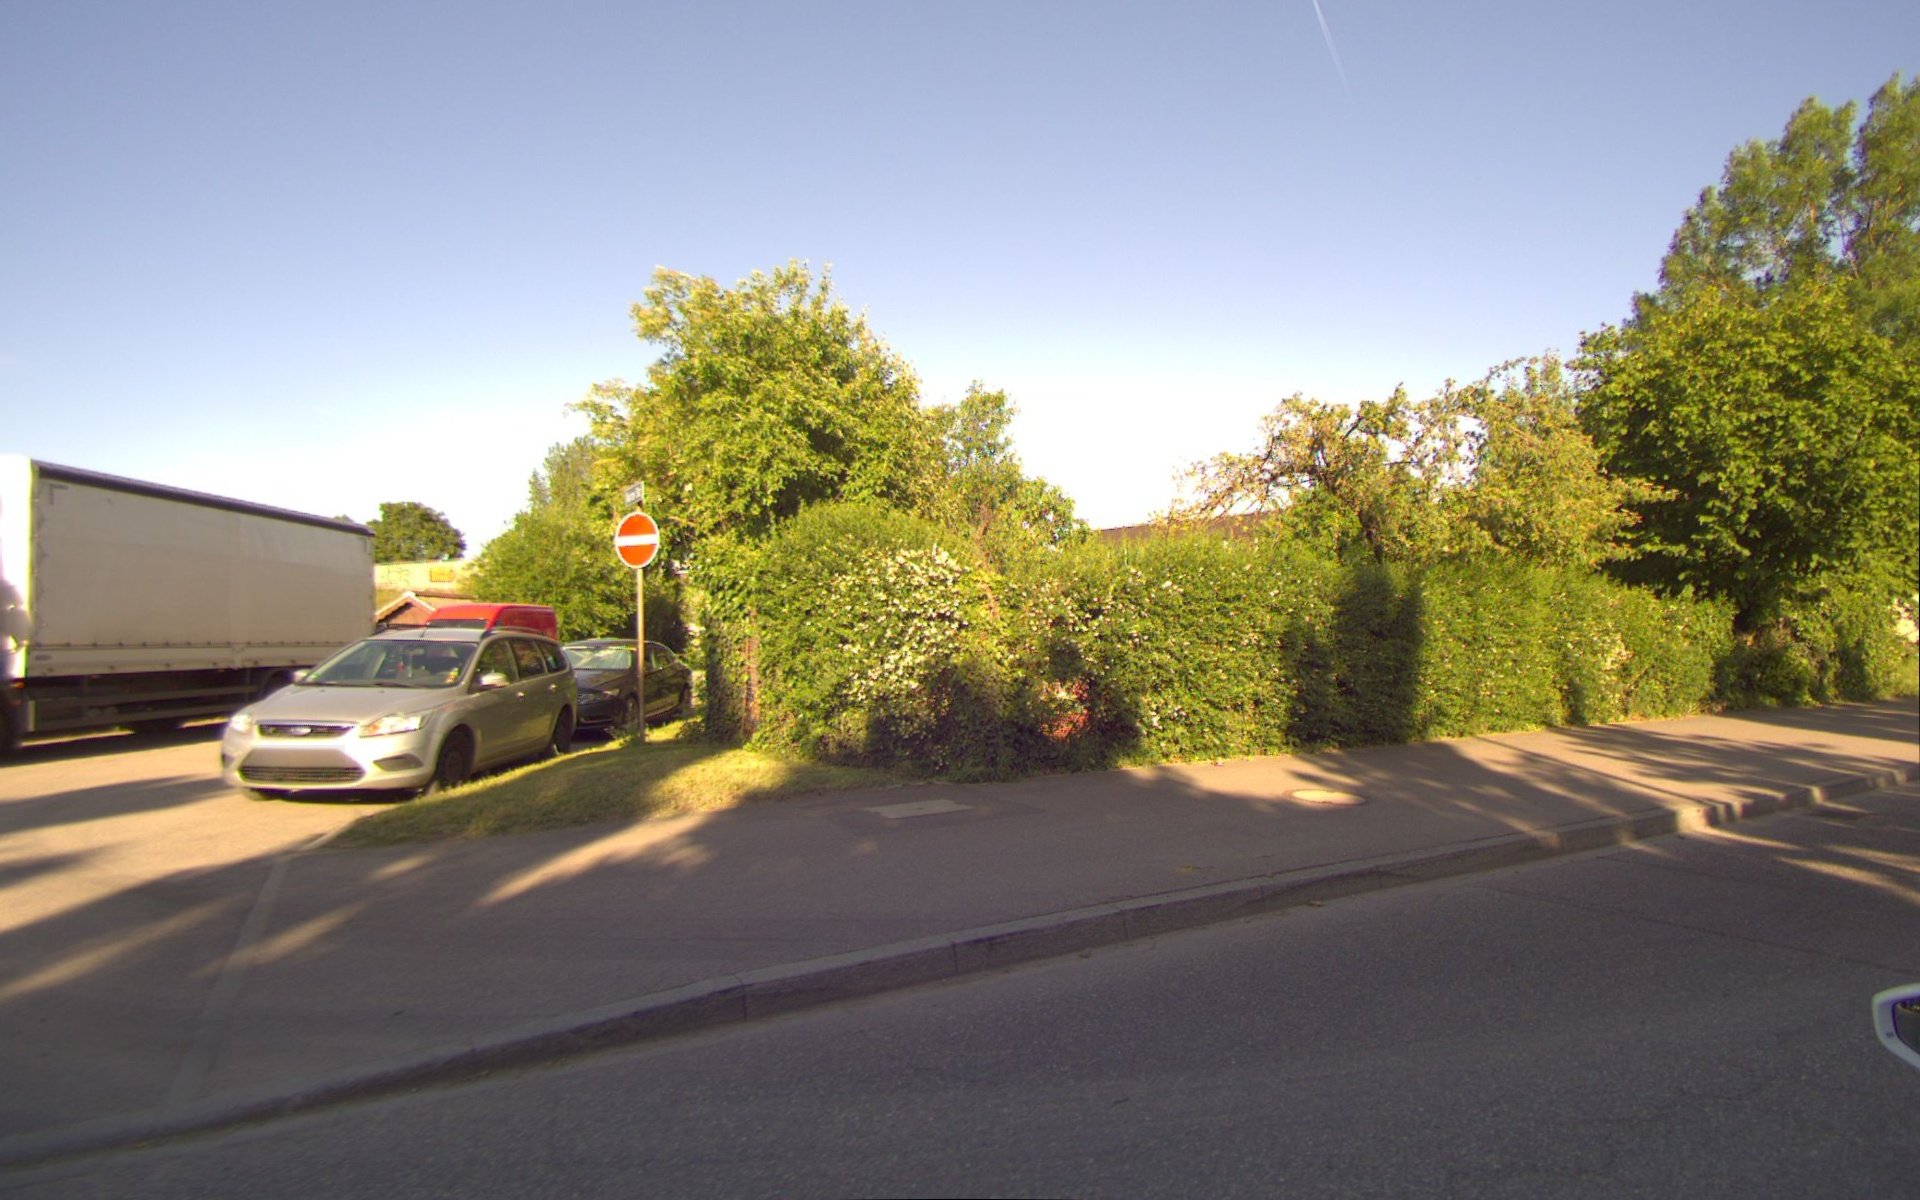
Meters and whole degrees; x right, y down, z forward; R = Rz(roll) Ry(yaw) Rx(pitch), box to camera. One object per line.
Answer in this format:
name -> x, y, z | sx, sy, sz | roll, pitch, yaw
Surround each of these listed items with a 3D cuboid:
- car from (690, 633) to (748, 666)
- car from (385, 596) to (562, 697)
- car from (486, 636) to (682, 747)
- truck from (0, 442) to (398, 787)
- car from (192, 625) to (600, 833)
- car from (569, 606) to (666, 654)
car -> -12.430, 2.528, 52.124 | 1.876, 1.562, 4.935 | 2, -2, -1
car -> -12.845, 1.218, 27.056 | 2.022, 2.383, 5.643 | 2, -2, -1
car -> -5.646, 1.341, 15.642 | 1.612, 1.454, 4.205 | 2, -3, -3
truck -> -12.325, 0.233, 14.899 | 2.658, 3.934, 9.336 | 2, -2, 0
car -> -5.215, 1.080, 10.068 | 1.840, 1.510, 4.222 | 2, 0, -3
car -> -12.385, 1.102, 36.673 | 1.876, 1.562, 4.935 | 2, -2, -1
